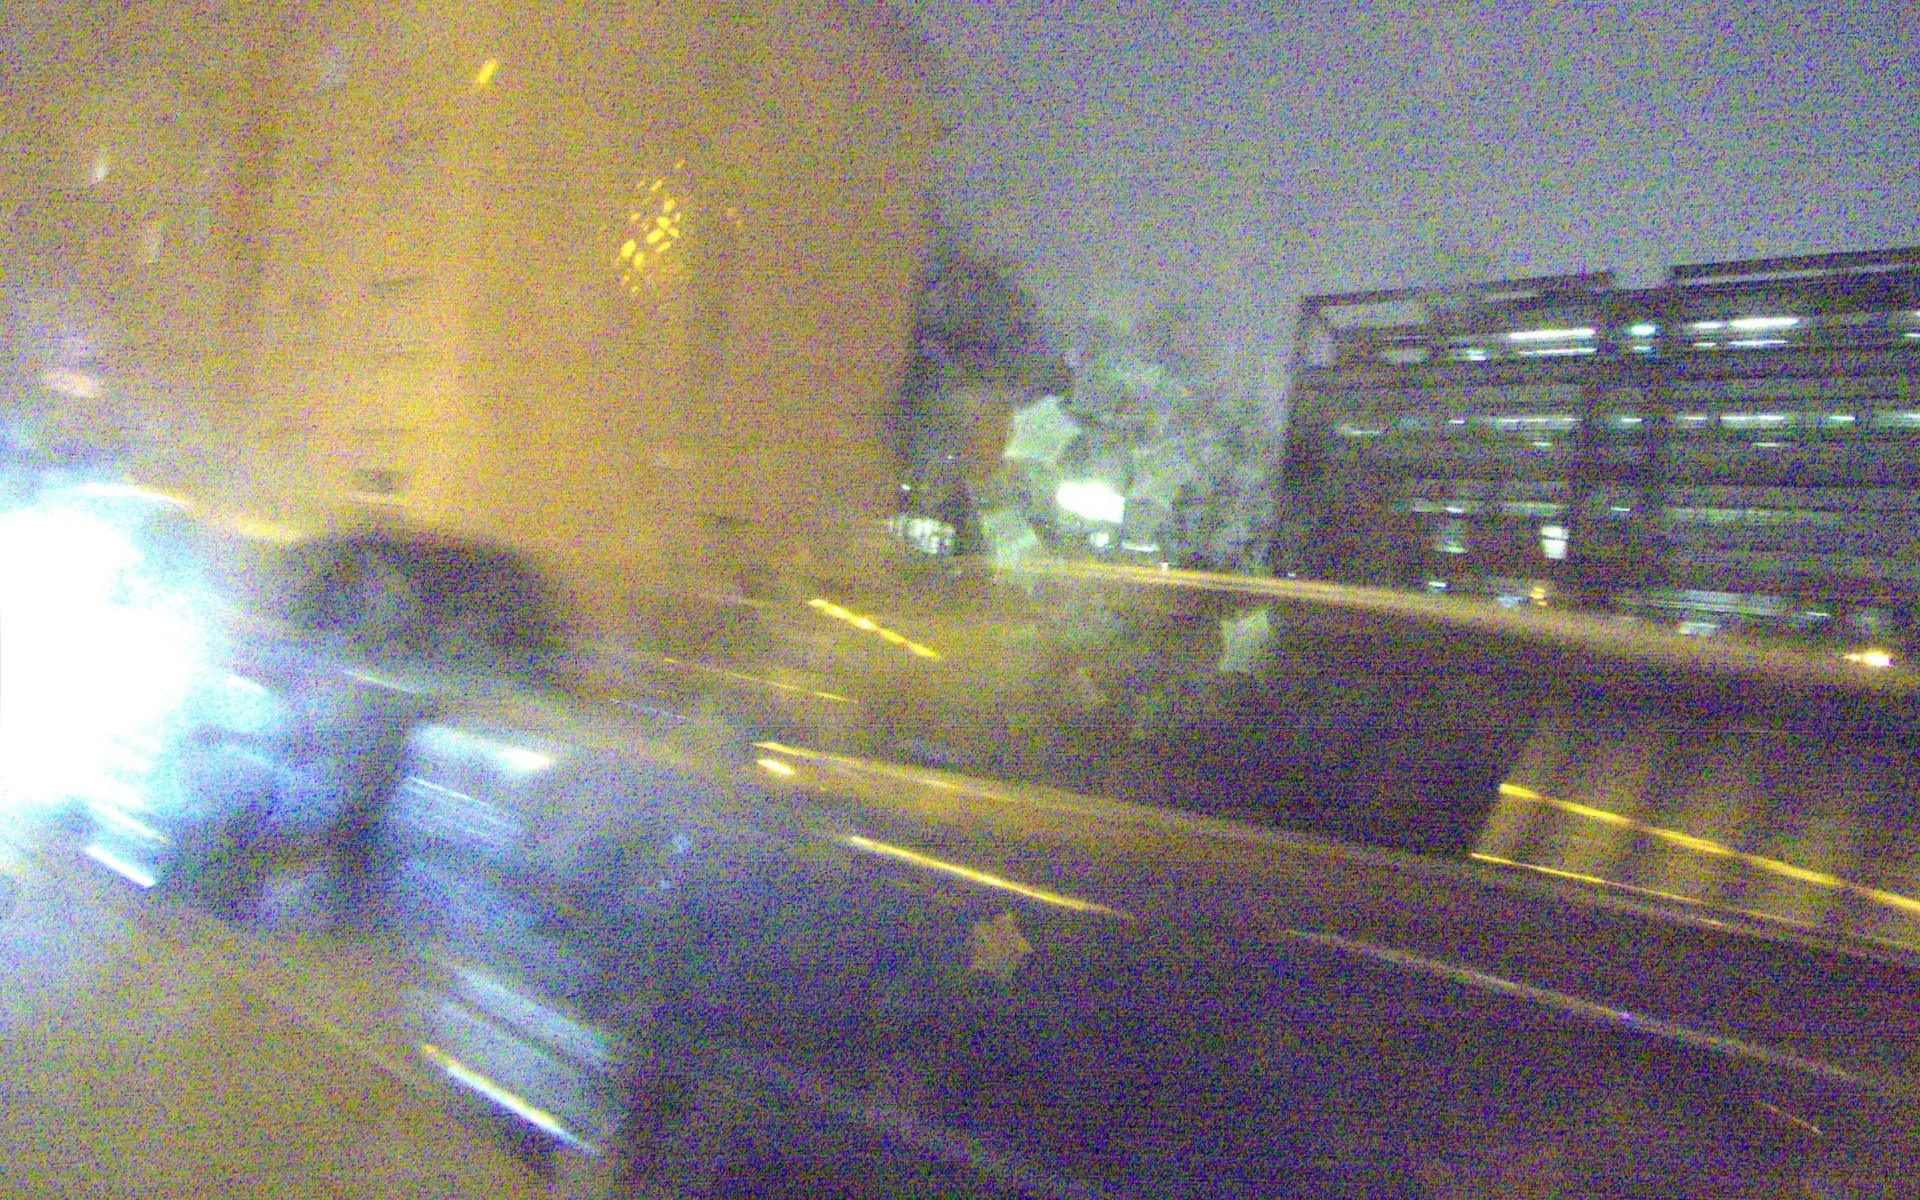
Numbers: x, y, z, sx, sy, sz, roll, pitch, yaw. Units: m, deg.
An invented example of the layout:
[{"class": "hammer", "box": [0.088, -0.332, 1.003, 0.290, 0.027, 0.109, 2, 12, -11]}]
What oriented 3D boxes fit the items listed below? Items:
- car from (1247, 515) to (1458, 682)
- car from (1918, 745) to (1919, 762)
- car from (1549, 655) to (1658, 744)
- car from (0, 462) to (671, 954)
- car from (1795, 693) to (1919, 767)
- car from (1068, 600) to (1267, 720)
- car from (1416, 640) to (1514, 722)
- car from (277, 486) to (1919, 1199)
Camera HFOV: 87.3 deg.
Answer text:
[{"class": "car", "box": [5.465, 0.075, 13.687, 1.721, 1.812, 4.068, 7, 1, 33]}, {"class": "car", "box": [27.599, 3.772, 27.187, 1.679, 1.802, 3.988, 8, 1, 34]}, {"class": "car", "box": [14.375, 2.176, 22.511, 1.745, 1.583, 3.989, 7, 1, 33]}, {"class": "car", "box": [-3.923, 0.202, 5.401, 4.511, 1.594, 1.881, 8, 3, 30]}, {"class": "car", "box": [25.535, 3.631, 28.765, 1.964, 1.608, 4.589, 7, 0, 34]}, {"class": "car", "box": [3.254, 0.912, 15.266, 1.594, 1.418, 3.688, 7, 1, 33]}, {"class": "car", "box": [12.204, 1.906, 24.292, 1.797, 1.584, 4.155, 7, 0, 28]}, {"class": "car", "box": [0.330, 0.723, 2.769, 4.451, 1.594, 1.881, 8, 3, 30]}]
